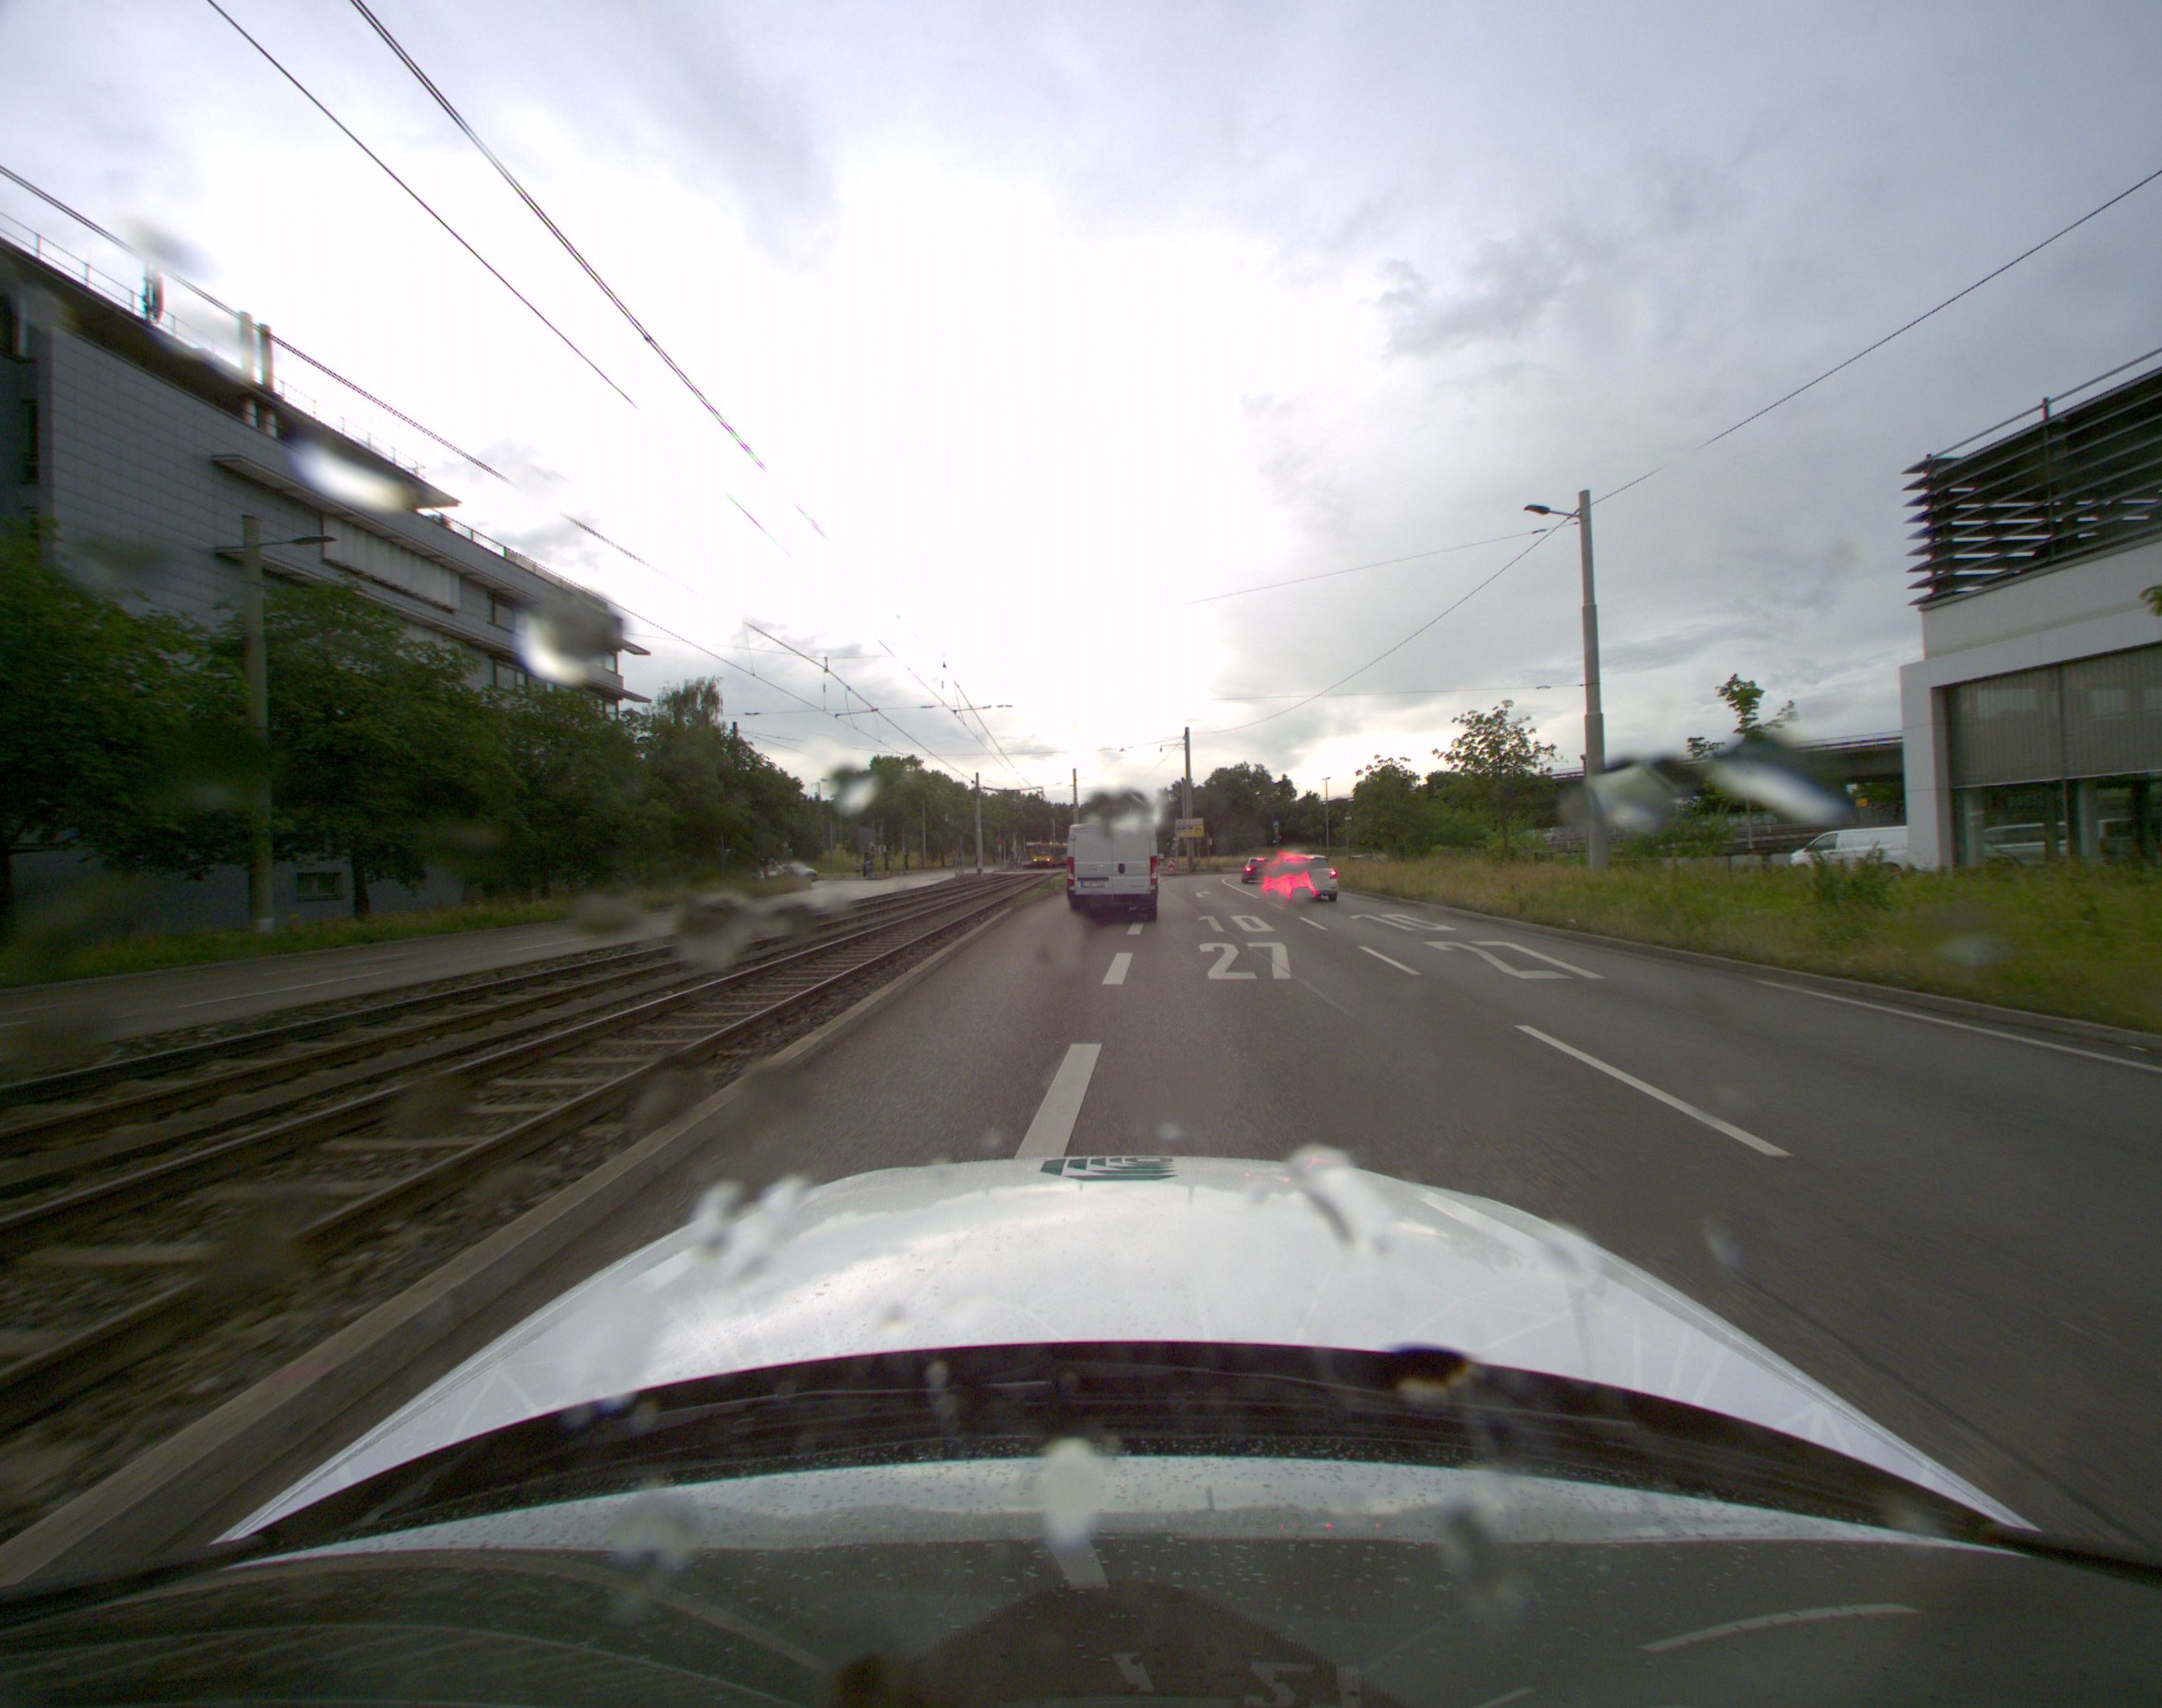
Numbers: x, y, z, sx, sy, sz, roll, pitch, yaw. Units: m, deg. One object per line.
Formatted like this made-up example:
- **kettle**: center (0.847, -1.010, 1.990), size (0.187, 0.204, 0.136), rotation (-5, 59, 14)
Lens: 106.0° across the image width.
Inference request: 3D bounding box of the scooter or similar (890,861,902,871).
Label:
- **scooter or similar**: center (-21.442, 1.388, 94.282), size (1.287, 1.161, 0.376), rotation (-3, 1, -44)

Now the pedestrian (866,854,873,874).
- **pedestrian**: center (-21.104, 0.975, 81.235), size (0.493, 1.955, 0.723), rotation (0, 0, 5)

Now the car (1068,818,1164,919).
- **car**: center (0.830, 0.278, 20.282), size (2.083, 2.196, 5.063), rotation (0, 1, 1)

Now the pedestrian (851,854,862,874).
- **pedestrian**: center (-22.845, 0.994, 82.835), size (0.885, 2.013, 0.864), rotation (-2, 0, -4)

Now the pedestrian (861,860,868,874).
- **pedestrian**: center (-22.030, 1.328, 82.970), size (0.493, 1.473, 0.722), rotation (0, 0, 3)

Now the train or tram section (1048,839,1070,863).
- **train or tram section**: center (-3.564, -0.488, 133.533), size (2.916, 3.933, 7.011), rotation (0, 0, 3)

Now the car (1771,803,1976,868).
- **car**: center (27.142, -0.593, 28.221), size (2.038, 2.013, 5.087), rotation (-1, 0, -2)

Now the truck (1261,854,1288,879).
- **truck**: center (16.023, 1.003, 67.509), size (1.980, 1.790, 4.428), rotation (-2, 0, 11)

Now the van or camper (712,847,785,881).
- **van or camper**: center (-30.296, 0.908, 74.083), size (7.279, 2.966, 2.507), rotation (-1, 1, 35)

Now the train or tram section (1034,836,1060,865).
- **train or tram section**: center (-4.689, -0.438, 114.452), size (2.916, 3.933, 7.011), rotation (0, 0, 3)

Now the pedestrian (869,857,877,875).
- **pedestrian**: center (-20.723, 1.152, 81.112), size (0.504, 1.787, 0.833), rotation (0, 0, 6)

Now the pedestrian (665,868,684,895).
- **pedestrian**: center (-26.367, 1.769, 52.833), size (0.722, 1.755, 0.878), rotation (0, 0, 3)

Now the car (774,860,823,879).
- **car**: center (-26.768, 1.481, 77.225), size (4.571, 1.732, 2.013), rotation (-1, 1, 34)

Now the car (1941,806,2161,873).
- **car**: center (32.341, -0.452, 27.310), size (1.941, 2.050, 4.703), rotation (0, 0, -2)

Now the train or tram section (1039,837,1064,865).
- **train or tram section**: center (-4.318, -0.455, 120.851), size (2.916, 3.933, 7.011), rotation (0, 0, 3)

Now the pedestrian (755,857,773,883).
- **pedestrian**: center (-24.925, 1.249, 64.005), size (0.878, 2.013, 0.951), rotation (-2, 0, 28)

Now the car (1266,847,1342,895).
- **car**: center (7.194, 0.515, 26.628), size (1.738, 1.457, 3.675), rotation (0, 0, 4)

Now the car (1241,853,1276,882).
- **car**: center (9.564, 0.697, 44.123), size (1.778, 1.449, 4.012), rotation (-1, 0, 11)

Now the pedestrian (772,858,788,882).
- **pedestrian**: center (-23.805, 1.264, 64.393), size (0.628, 1.867, 0.960), rotation (-2, 0, 27)
